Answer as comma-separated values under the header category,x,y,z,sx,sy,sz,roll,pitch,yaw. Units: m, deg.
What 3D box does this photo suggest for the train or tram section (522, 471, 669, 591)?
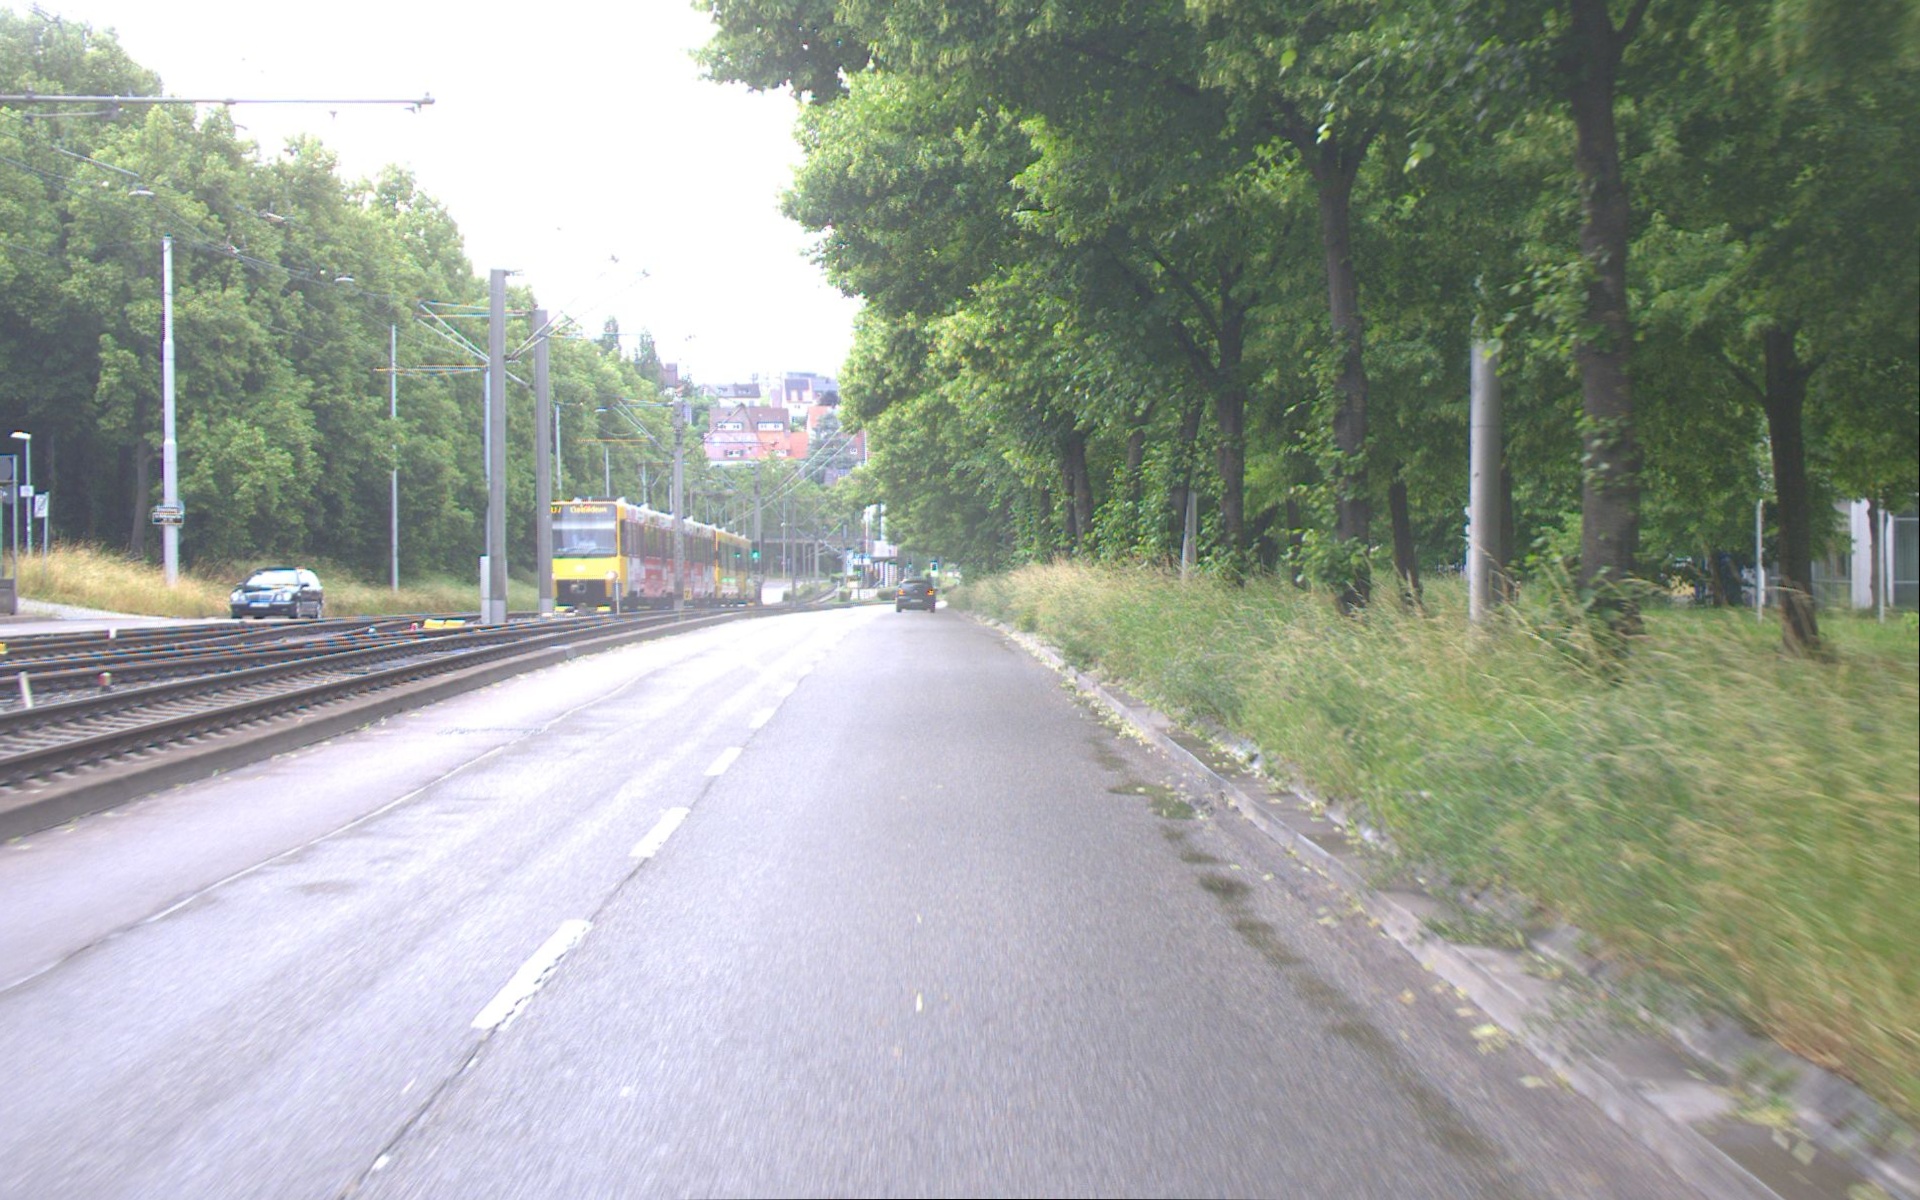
category,x,y,z,sx,sy,sz,roll,pitch,yaw
train or tram section,-12.091,-2.197,115.598,3.214,3.783,14.789,0,0,1

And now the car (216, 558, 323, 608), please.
category,x,y,z,sx,sy,sz,roll,pitch,yaw
car,-18.702,-0.448,93.311,1.902,1.320,4.826,0,0,1

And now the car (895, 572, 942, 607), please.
category,x,y,z,sx,sy,sz,roll,pitch,yaw
car,-1.795,-0.460,148.088,1.982,1.436,4.474,0,1,-1

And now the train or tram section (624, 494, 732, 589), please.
category,x,y,z,sx,sy,sz,roll,pitch,yaw
train or tram section,-11.793,-2.381,145.257,3.214,3.783,14.789,0,0,1
